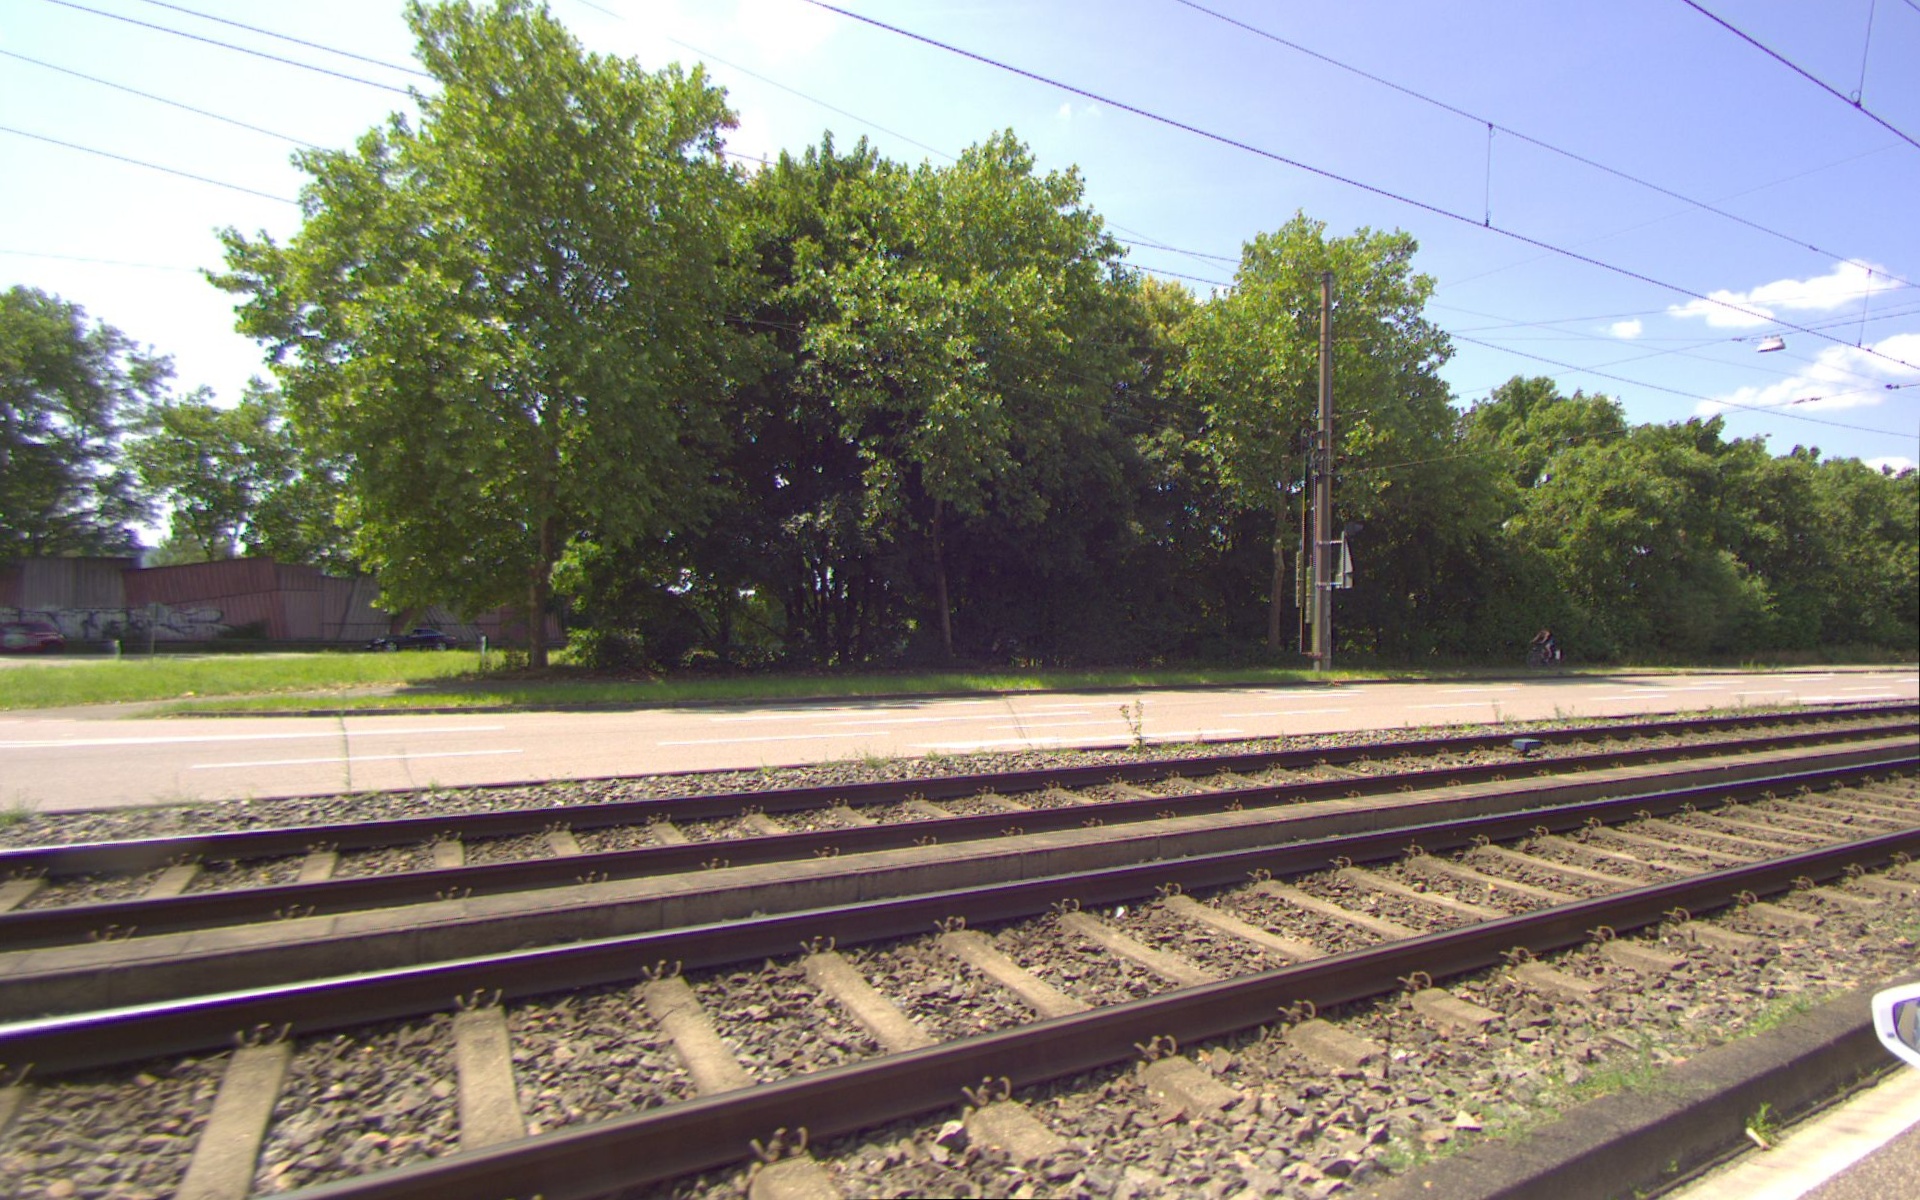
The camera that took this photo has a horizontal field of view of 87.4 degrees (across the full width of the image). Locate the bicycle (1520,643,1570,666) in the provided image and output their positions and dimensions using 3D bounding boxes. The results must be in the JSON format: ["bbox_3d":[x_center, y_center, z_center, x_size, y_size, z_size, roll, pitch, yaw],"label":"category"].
[{"bbox_3d":[21.461,2.002,36.865,2.042,0.829,0.584,2,-2,-27],"label":"bicycle"}]

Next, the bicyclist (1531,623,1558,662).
[{"bbox_3d":[21.487,1.563,36.910,0.623,1.386,0.566,2,0,-27],"label":"bicyclist"}]

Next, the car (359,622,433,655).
[{"bbox_3d":[-32.259,2.161,57.529,1.539,1.816,3.388,0,-1,35],"label":"car"}]

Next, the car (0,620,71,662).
[{"bbox_3d":[-41.530,1.778,44.150,1.539,1.816,3.388,0,-1,35],"label":"car"}]
